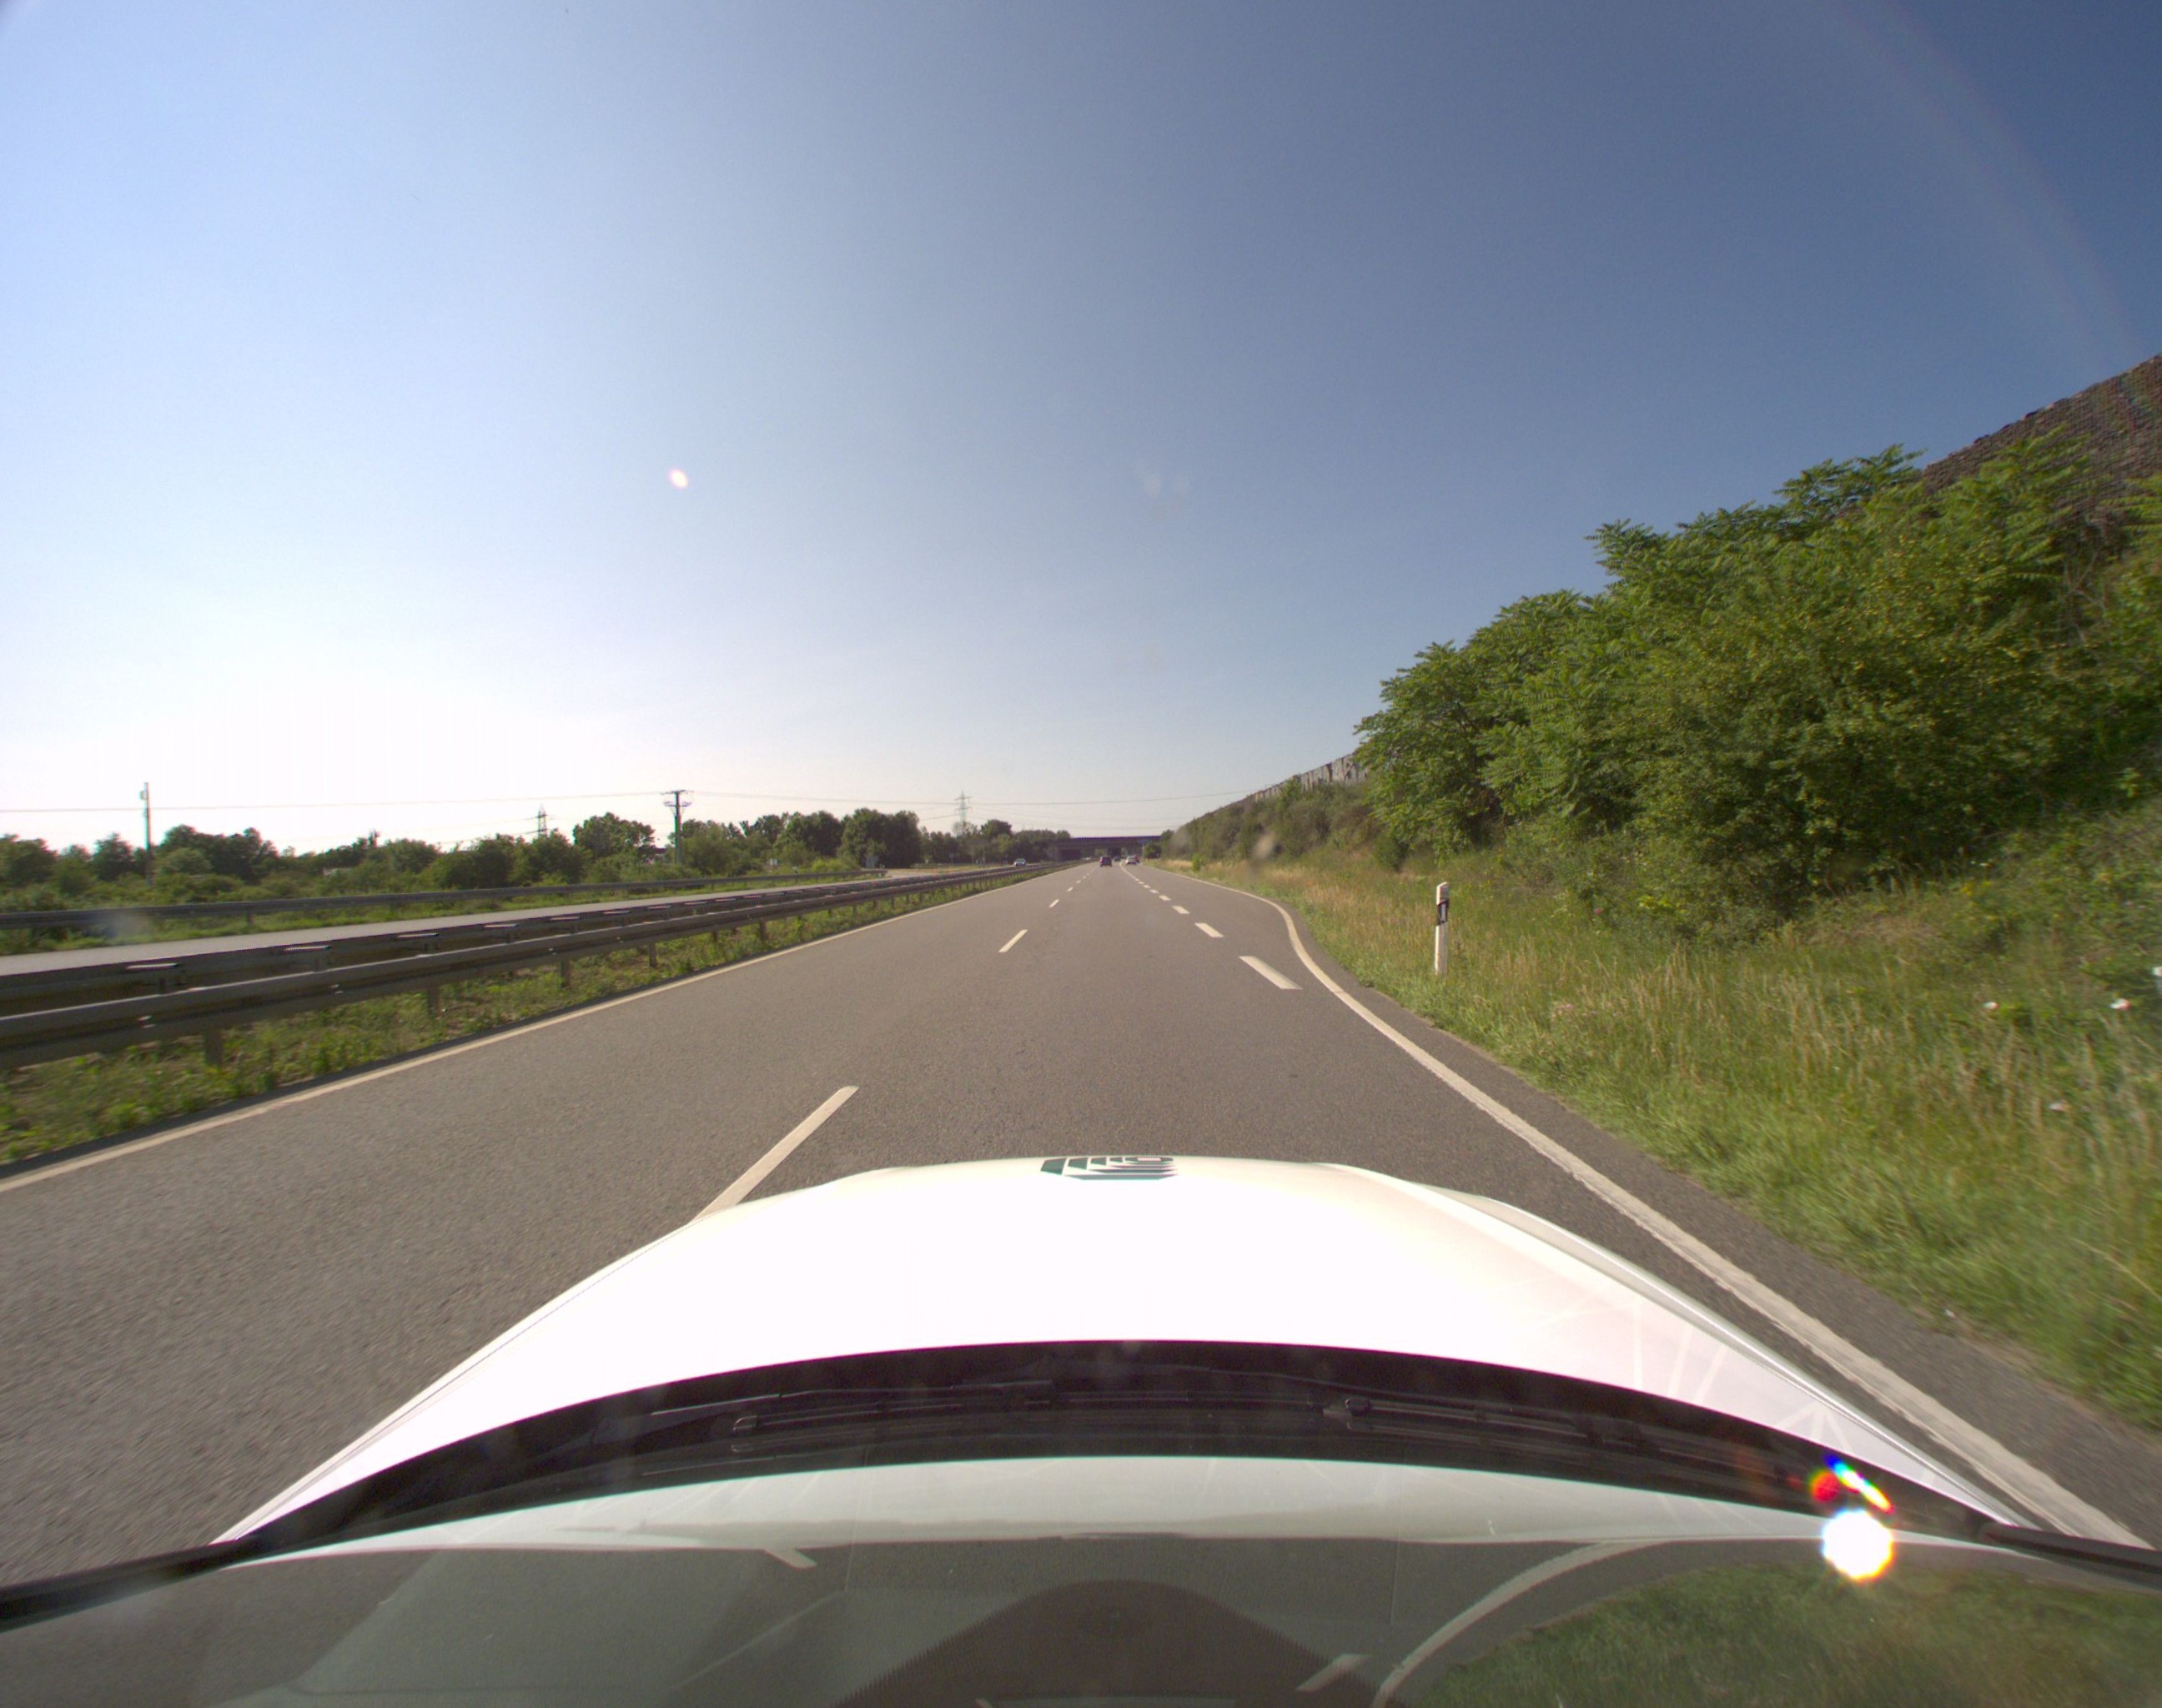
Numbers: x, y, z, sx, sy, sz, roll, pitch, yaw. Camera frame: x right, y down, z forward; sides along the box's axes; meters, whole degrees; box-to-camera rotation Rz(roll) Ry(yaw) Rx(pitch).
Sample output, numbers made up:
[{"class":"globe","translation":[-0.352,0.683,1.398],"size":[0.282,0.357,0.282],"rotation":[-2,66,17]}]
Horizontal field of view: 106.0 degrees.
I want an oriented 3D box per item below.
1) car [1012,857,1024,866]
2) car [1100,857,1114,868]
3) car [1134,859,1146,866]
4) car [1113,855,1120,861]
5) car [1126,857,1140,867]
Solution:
[{"class":"car","translation":[-10.897,1.302,141.394],"size":[1.694,1.485,4.621],"rotation":[1,0,1]},{"class":"car","translation":[4.004,1.254,124.227],"size":[1.841,1.644,4.005],"rotation":[-1,0,4]},{"class":"car","translation":[12.545,1.857,174.118],"size":[1.888,1.298,4.014],"rotation":[1,0,13]},{"class":"car","translation":[9.636,1.143,220.142],"size":[1.841,1.644,4.005],"rotation":[-1,0,4]},{"class":"car","translation":[8.936,1.326,140.356],"size":[1.784,1.665,4.015],"rotation":[1,0,13]}]
